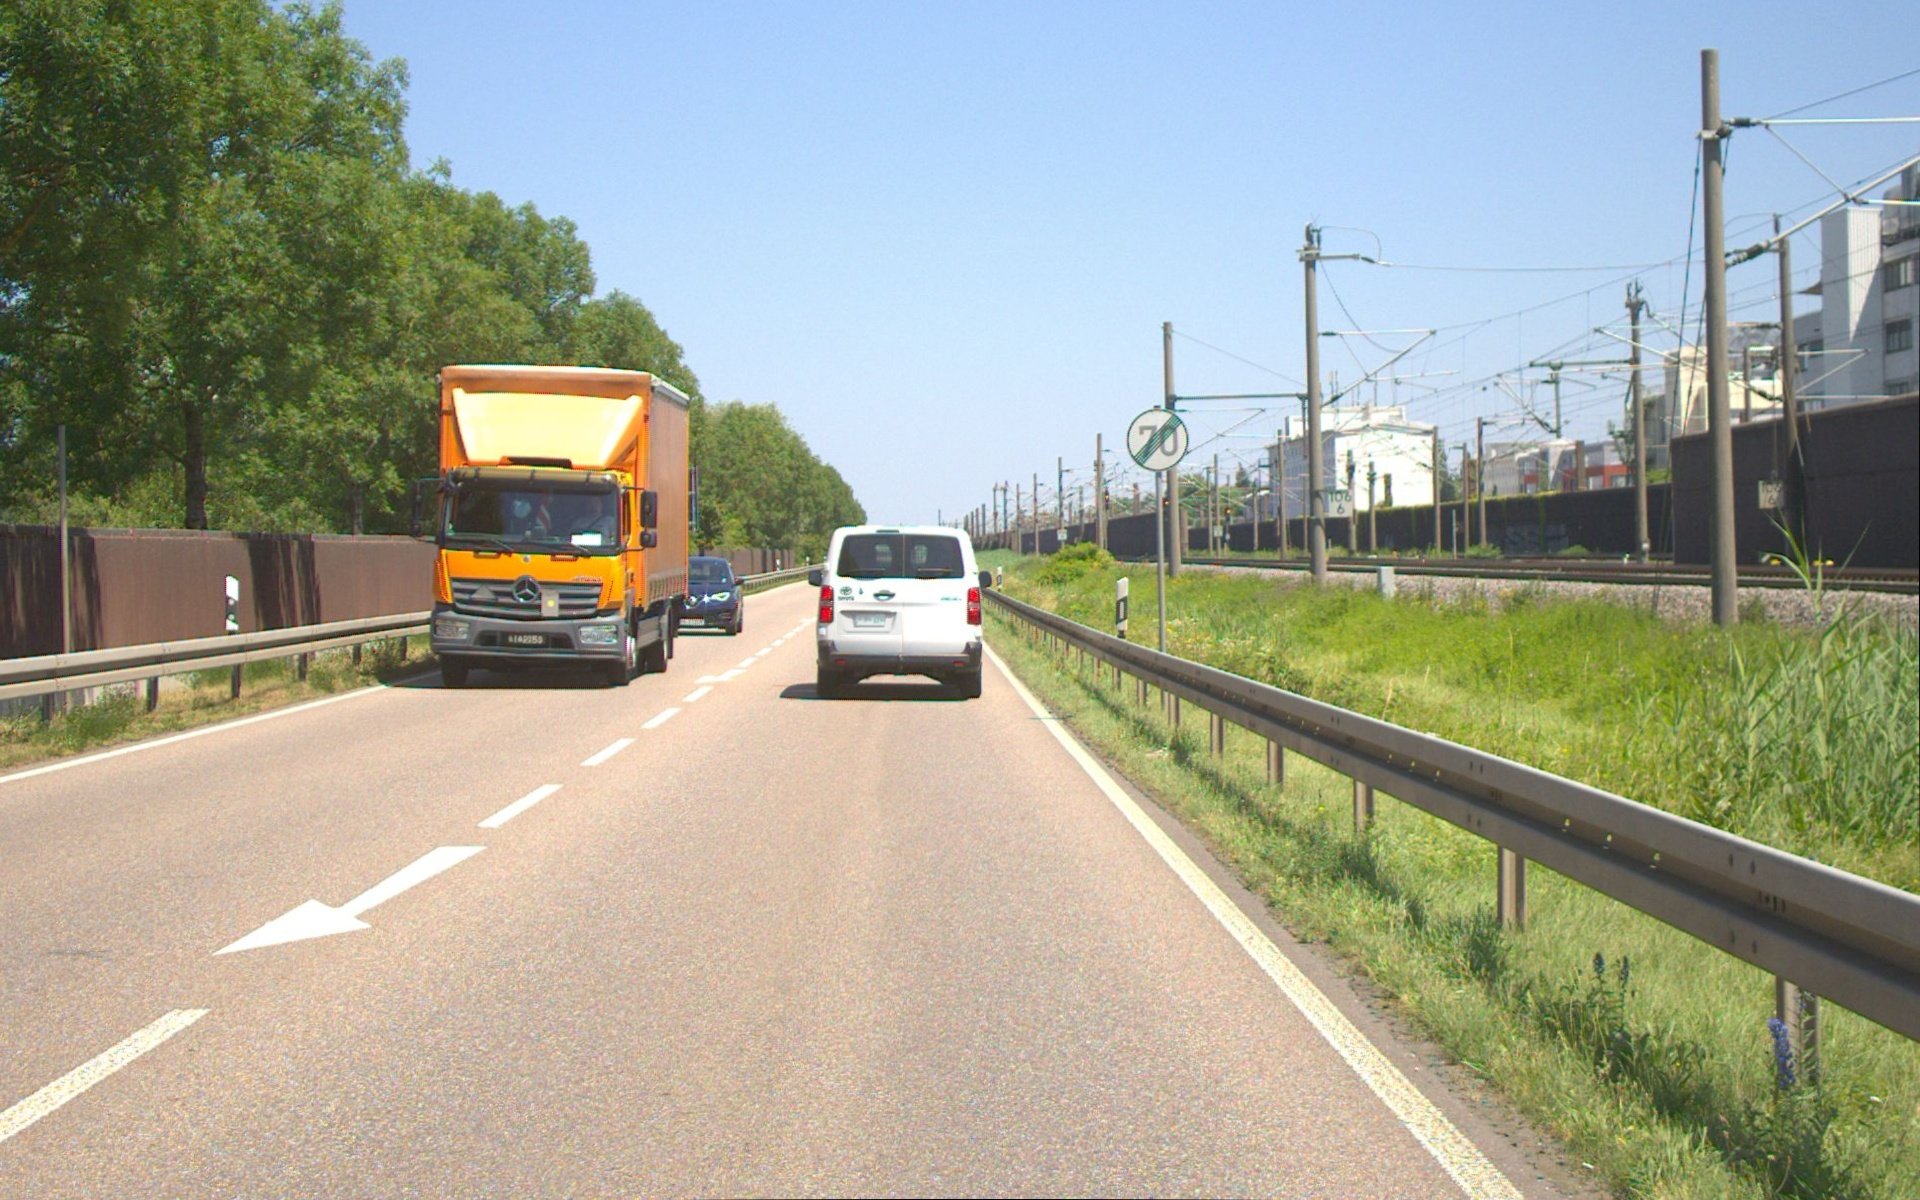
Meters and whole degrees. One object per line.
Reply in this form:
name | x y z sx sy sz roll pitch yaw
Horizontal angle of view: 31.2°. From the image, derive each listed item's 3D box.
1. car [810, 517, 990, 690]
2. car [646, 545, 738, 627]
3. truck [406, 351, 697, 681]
car | -0.688 0.020 39.819 1.945 1.875 4.881 0 0 -1
car | -5.408 -0.306 69.691 1.622 1.572 3.763 0 1 -1
truck | -5.098 -1.030 44.575 2.792 3.827 9.324 0 1 -1
